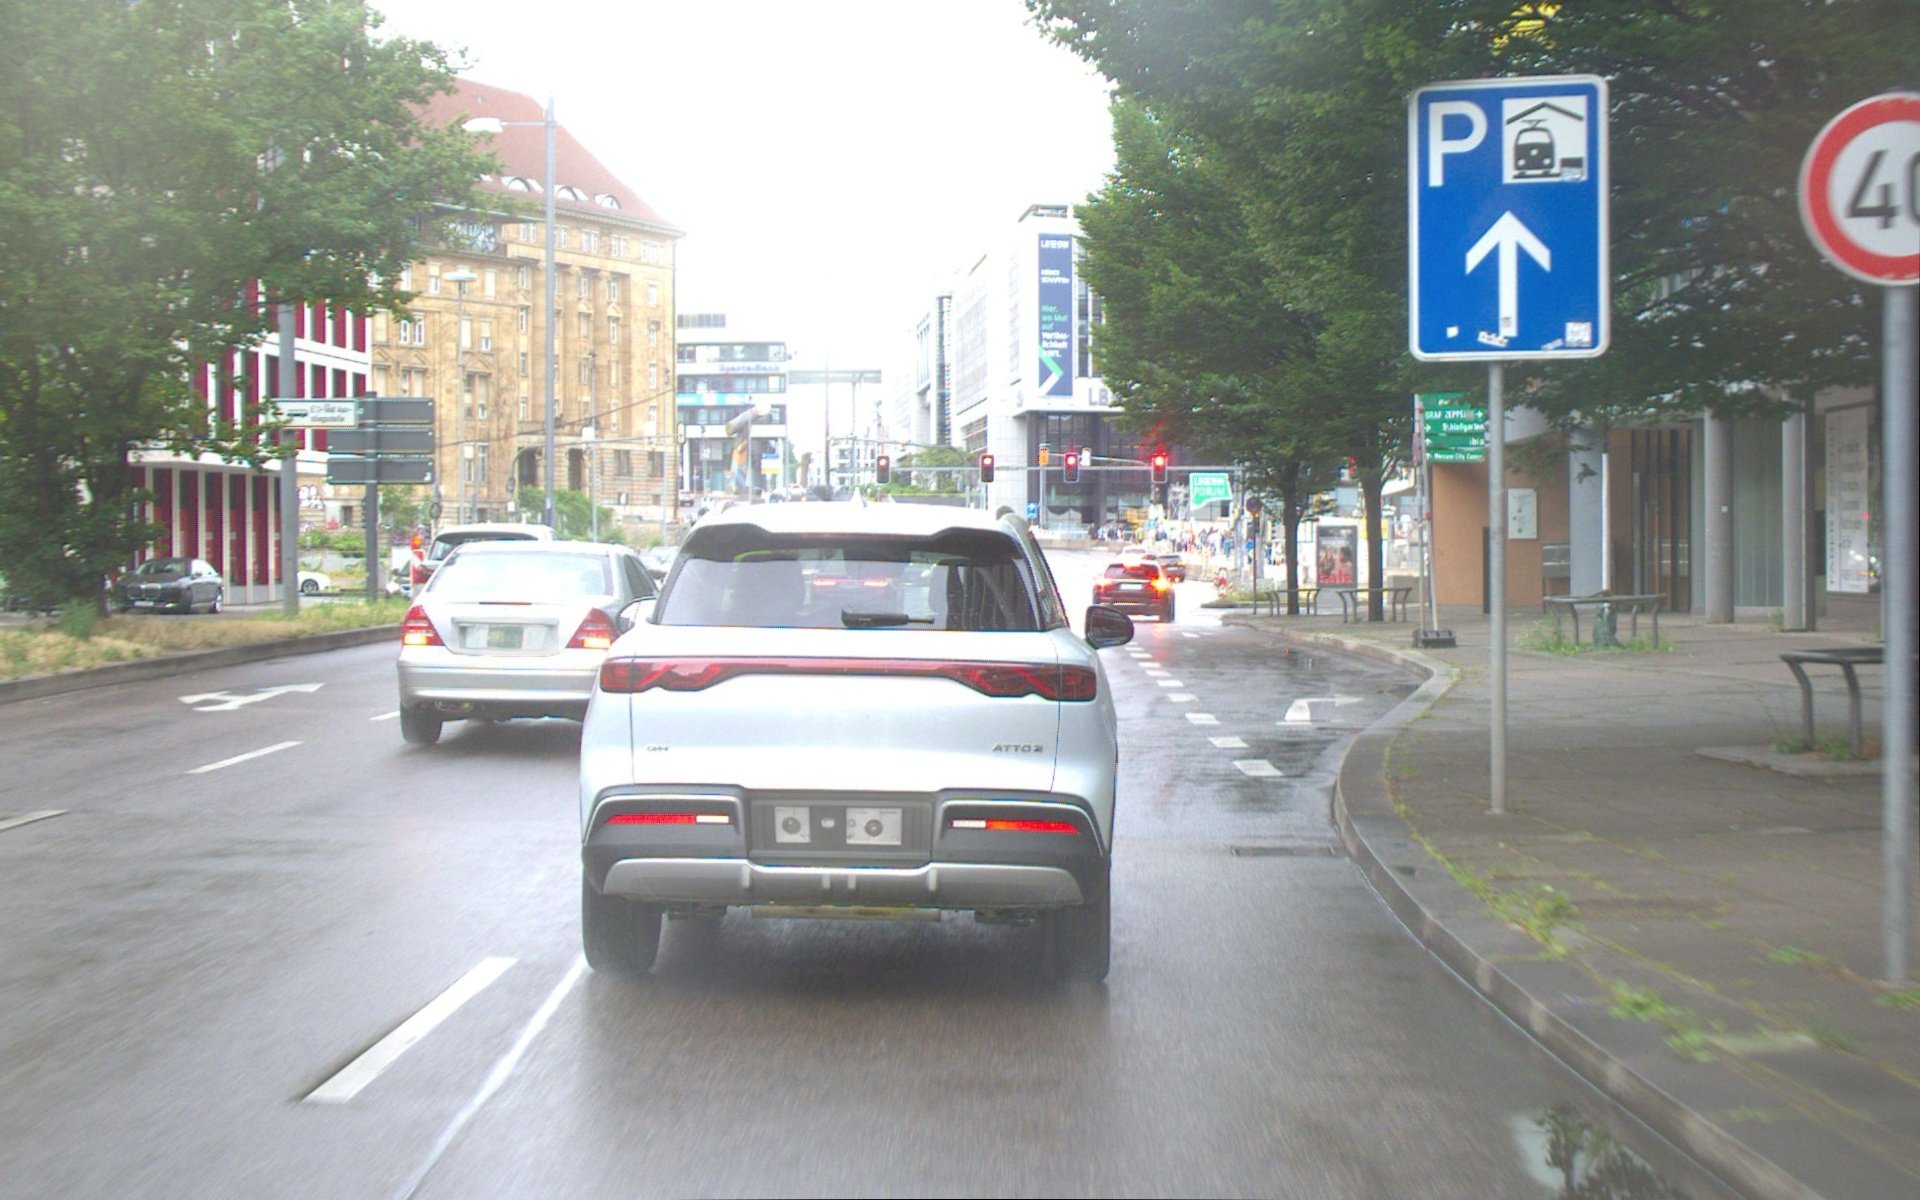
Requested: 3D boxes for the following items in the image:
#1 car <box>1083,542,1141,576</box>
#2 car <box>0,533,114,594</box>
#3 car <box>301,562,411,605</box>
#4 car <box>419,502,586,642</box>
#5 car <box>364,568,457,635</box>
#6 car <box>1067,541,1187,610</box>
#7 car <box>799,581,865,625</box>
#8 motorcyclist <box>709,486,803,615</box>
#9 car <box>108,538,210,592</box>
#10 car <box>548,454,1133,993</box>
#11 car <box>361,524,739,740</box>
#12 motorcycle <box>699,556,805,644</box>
[{"bbox_3d":[8.641,-2.322,195.254,1.993,1.810,4.001,1,0,-17],"label":"car"},{"bbox_3d":[-22.300,-0.884,84.816,1.698,1.419,3.955,-1,0,2],"label":"car"},{"bbox_3d":[-25.286,-0.684,143.964,4.379,1.656,2.001,1,0,-13],"label":"car"},{"bbox_3d":[-5.594,-0.325,42.394,1.732,1.610,4.000,1,0,-4],"label":"car"},{"bbox_3d":[-14.185,0.042,88.931,1.825,1.626,4.875,1,0,-3],"label":"car"},{"bbox_3d":[4.034,-0.571,82.397,1.893,1.539,3.990,1,0,18],"label":"car"},{"bbox_3d":[-4.198,0.110,113.329,1.783,1.369,3.993,1,0,3],"label":"car"},{"bbox_3d":[-2.398,-0.573,40.462,0.941,1.470,1.100,1,0,4],"label":"motorcyclist"},{"bbox_3d":[-21.833,-0.947,93.777,1.698,1.419,3.955,-1,0,2],"label":"car"},{"bbox_3d":[-0.379,0.396,12.918,1.808,1.655,4.170,1,0,0],"label":"car"},{"bbox_3d":[-2.880,0.223,25.115,1.733,1.399,4.382,1,0,7],"label":"car"},{"bbox_3d":[-2.426,-0.003,40.408,0.942,0.986,2.294,1,0,4],"label":"motorcycle"}]
